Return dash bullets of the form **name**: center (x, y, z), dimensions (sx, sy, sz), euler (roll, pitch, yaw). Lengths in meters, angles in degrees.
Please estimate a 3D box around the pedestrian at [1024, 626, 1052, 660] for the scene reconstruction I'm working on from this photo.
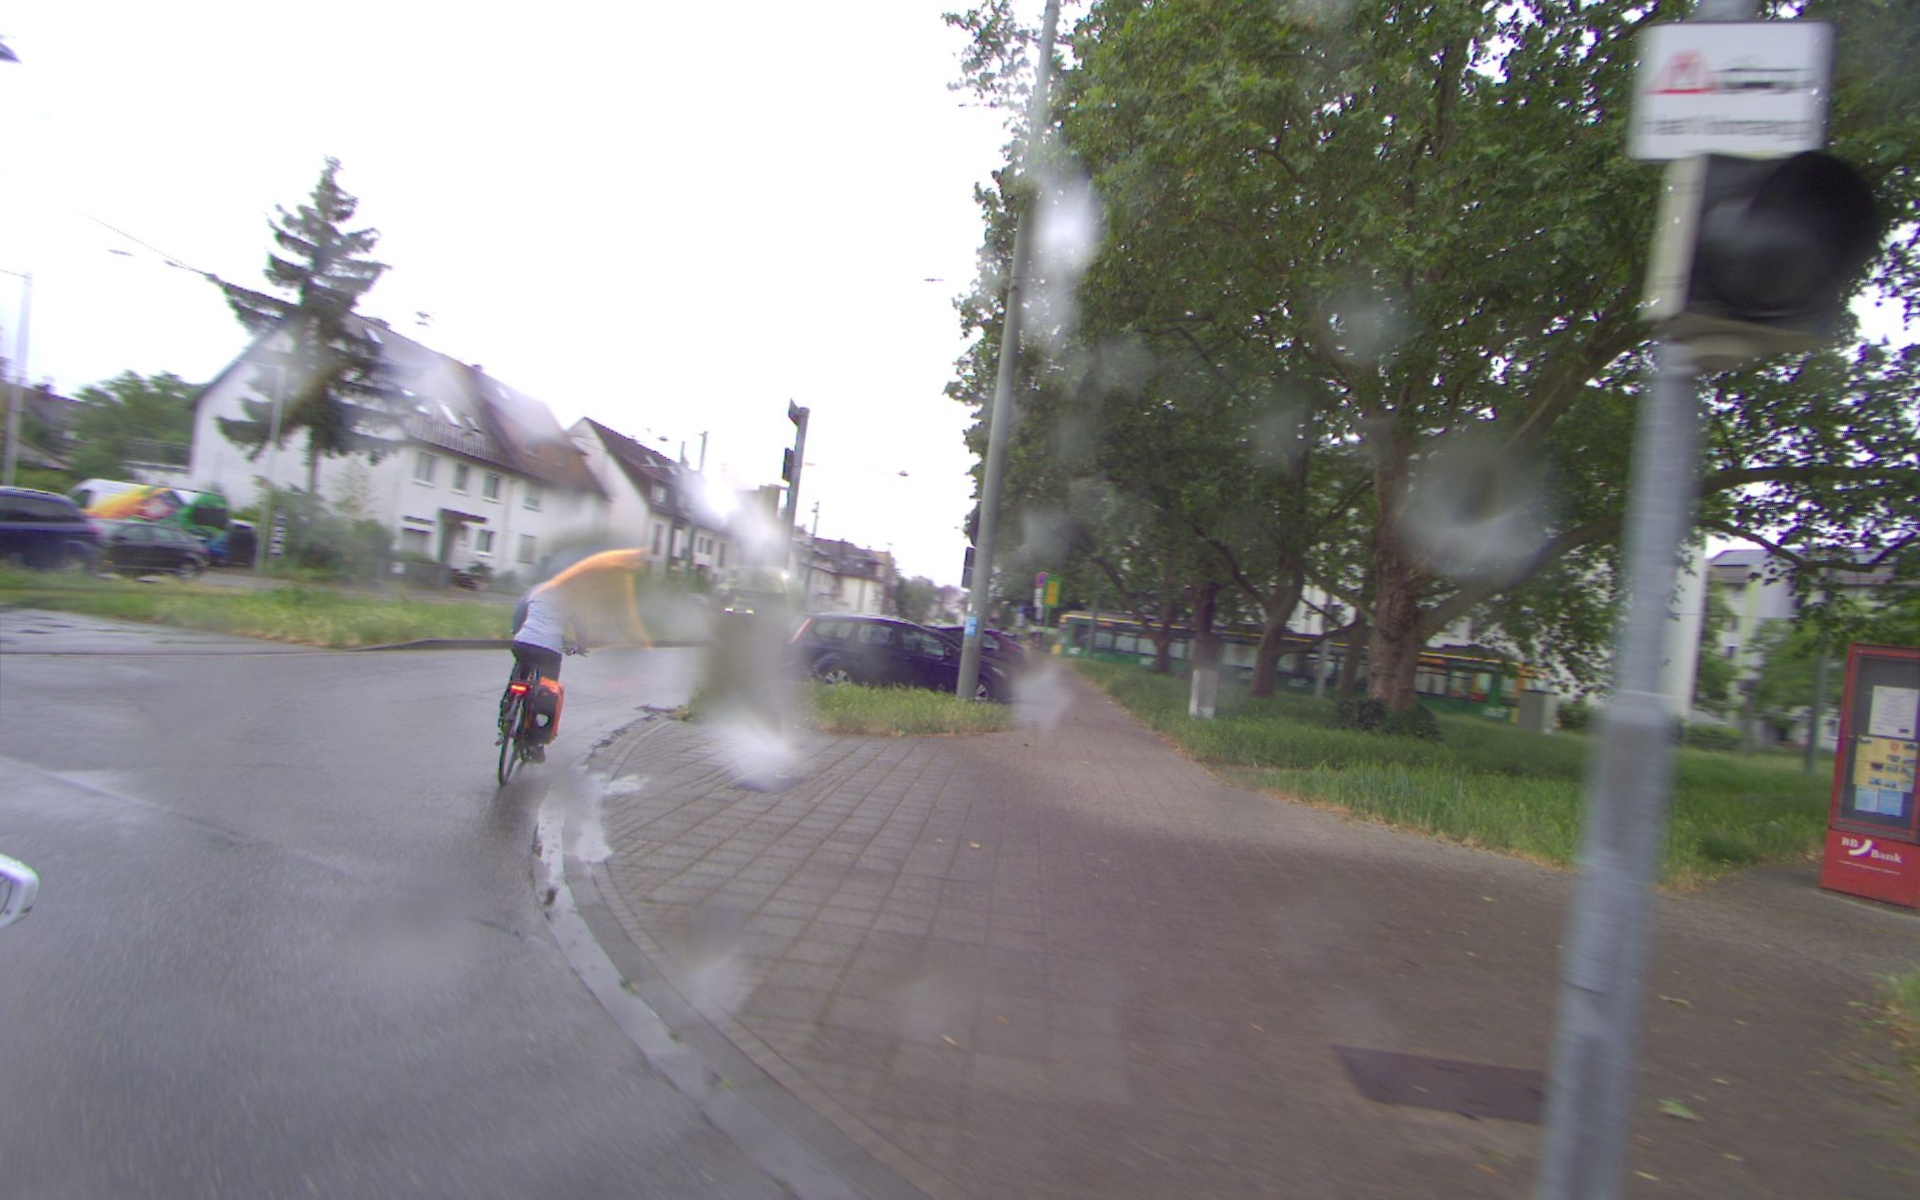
- **pedestrian**: center (4.243, 2.327, 54.733), dimensions (1.032, 1.734, 1.077), euler (7, -1, -15)

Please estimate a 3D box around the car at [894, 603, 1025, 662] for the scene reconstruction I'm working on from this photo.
- **car**: center (-0.012, 1.120, 34.557), dimensions (3.957, 1.571, 1.947), euler (7, -2, -31)

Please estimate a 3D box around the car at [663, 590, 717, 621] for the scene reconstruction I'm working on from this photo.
- **car**: center (-16.593, 0.366, 62.020), dimensions (1.576, 1.439, 4.675), euler (7, -3, 5)

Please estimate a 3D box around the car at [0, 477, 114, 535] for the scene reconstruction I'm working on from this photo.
- **car**: center (-33.495, -3.433, 37.078), dimensions (1.837, 1.599, 4.385), euler (7, -1, -17)

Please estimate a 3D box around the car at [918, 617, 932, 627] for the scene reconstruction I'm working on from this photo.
- **car**: center (-6.883, 4.326, 198.003), dimensions (1.962, 1.560, 4.007), euler (7, -3, 5)

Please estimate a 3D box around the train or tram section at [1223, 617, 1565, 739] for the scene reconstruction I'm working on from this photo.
- **train or tram section**: center (19.241, 3.304, 46.431), dimensions (2.696, 3.630, 14.578), euler (9, -2, -39)

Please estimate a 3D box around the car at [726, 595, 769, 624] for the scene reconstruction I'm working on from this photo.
- **car**: center (-13.687, 0.647, 65.041), dimensions (1.575, 1.439, 3.827), euler (7, -3, 5)

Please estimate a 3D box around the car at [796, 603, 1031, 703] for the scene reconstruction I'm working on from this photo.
- **car**: center (-0.965, 1.120, 21.150), dimensions (4.494, 1.494, 1.793), euler (8, -1, -25)

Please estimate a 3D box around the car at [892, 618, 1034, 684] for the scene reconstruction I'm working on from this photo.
- **car**: center (0.096, 1.434, 28.149), dimensions (3.480, 1.524, 1.741), euler (6, -2, -32)

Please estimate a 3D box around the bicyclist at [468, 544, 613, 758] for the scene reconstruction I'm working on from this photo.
- **bicyclist**: center (-3.228, 0.379, 7.826), dimensions (0.741, 1.504, 0.844), euler (7, 1, -12)

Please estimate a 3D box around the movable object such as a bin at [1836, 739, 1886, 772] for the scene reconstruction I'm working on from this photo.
- **movable object such as a bin**: center (68.409, 11.808, 76.377), dimensions (2.207, 2.036, 1.897), euler (9, -3, -20)

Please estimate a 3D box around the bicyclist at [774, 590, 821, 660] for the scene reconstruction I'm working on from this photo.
- **bicyclist**: center (-3.945, 0.620, 24.509), dimensions (0.818, 1.576, 0.914), euler (6, -1, 1)

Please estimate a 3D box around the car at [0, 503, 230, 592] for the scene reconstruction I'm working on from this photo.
- **car**: center (-19.808, -1.160, 23.628), dimensions (1.690, 1.353, 4.397), euler (7, -3, 6)

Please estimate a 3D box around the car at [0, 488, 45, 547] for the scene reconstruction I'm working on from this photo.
- **car**: center (-27.218, -2.474, 27.046), dimensions (3.769, 1.411, 1.726), euler (7, -3, 7)

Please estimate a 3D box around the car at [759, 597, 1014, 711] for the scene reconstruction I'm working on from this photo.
- **car**: center (-1.313, 0.984, 18.211), dimensions (4.127, 1.494, 1.793), euler (8, -1, -26)

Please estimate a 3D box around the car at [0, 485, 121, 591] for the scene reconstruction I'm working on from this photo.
- **car**: center (-17.333, -1.269, 17.121), dimensions (1.963, 1.622, 4.580), euler (7, -3, 3)

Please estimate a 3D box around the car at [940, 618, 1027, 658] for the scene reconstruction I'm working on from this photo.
- **car**: center (1.233, 1.995, 52.344), dimensions (3.953, 1.501, 1.986), euler (7, 0, -27)

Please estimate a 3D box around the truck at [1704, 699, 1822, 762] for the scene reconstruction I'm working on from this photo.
- **truck**: center (52.328, 8.418, 65.817), dimensions (3.141, 3.511, 7.162), euler (7, -3, 15)

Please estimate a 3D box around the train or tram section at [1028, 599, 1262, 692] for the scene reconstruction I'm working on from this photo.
- **train or tram section**: center (10.081, 2.404, 57.725), dimensions (2.696, 3.630, 14.578), euler (9, -2, -39)

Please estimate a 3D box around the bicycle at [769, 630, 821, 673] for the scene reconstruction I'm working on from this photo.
- **bicycle**: center (-4.005, 1.252, 24.543), dimensions (0.808, 0.923, 1.987), euler (7, -2, 1)

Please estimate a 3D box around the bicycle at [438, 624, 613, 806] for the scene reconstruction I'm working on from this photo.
- **bicycle**: center (-3.275, 0.814, 7.787), dimensions (0.743, 1.086, 1.922), euler (7, 0, -11)

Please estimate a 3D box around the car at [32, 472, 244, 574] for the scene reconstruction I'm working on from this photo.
- **car**: center (-27.064, -2.509, 33.251), dimensions (5.052, 2.432, 2.155), euler (7, -3, 4)

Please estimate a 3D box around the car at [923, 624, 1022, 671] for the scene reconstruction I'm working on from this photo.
- **car**: center (0.515, 1.903, 40.608), dimensions (3.550, 1.498, 1.630), euler (6, -1, -22)

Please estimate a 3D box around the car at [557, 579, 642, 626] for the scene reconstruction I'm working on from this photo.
- **car**: center (-15.227, 0.144, 42.718), dimensions (1.709, 1.502, 4.007), euler (7, -3, 6)

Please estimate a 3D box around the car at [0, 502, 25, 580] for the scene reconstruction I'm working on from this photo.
- **car**: center (-20.252, -1.413, 18.856), dimensions (1.690, 1.520, 3.650), euler (7, -3, 6)

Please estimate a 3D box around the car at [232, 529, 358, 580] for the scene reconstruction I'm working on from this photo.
- **car**: center (-25.515, -1.701, 38.752), dimensions (1.962, 1.585, 3.892), euler (8, 2, 4)
